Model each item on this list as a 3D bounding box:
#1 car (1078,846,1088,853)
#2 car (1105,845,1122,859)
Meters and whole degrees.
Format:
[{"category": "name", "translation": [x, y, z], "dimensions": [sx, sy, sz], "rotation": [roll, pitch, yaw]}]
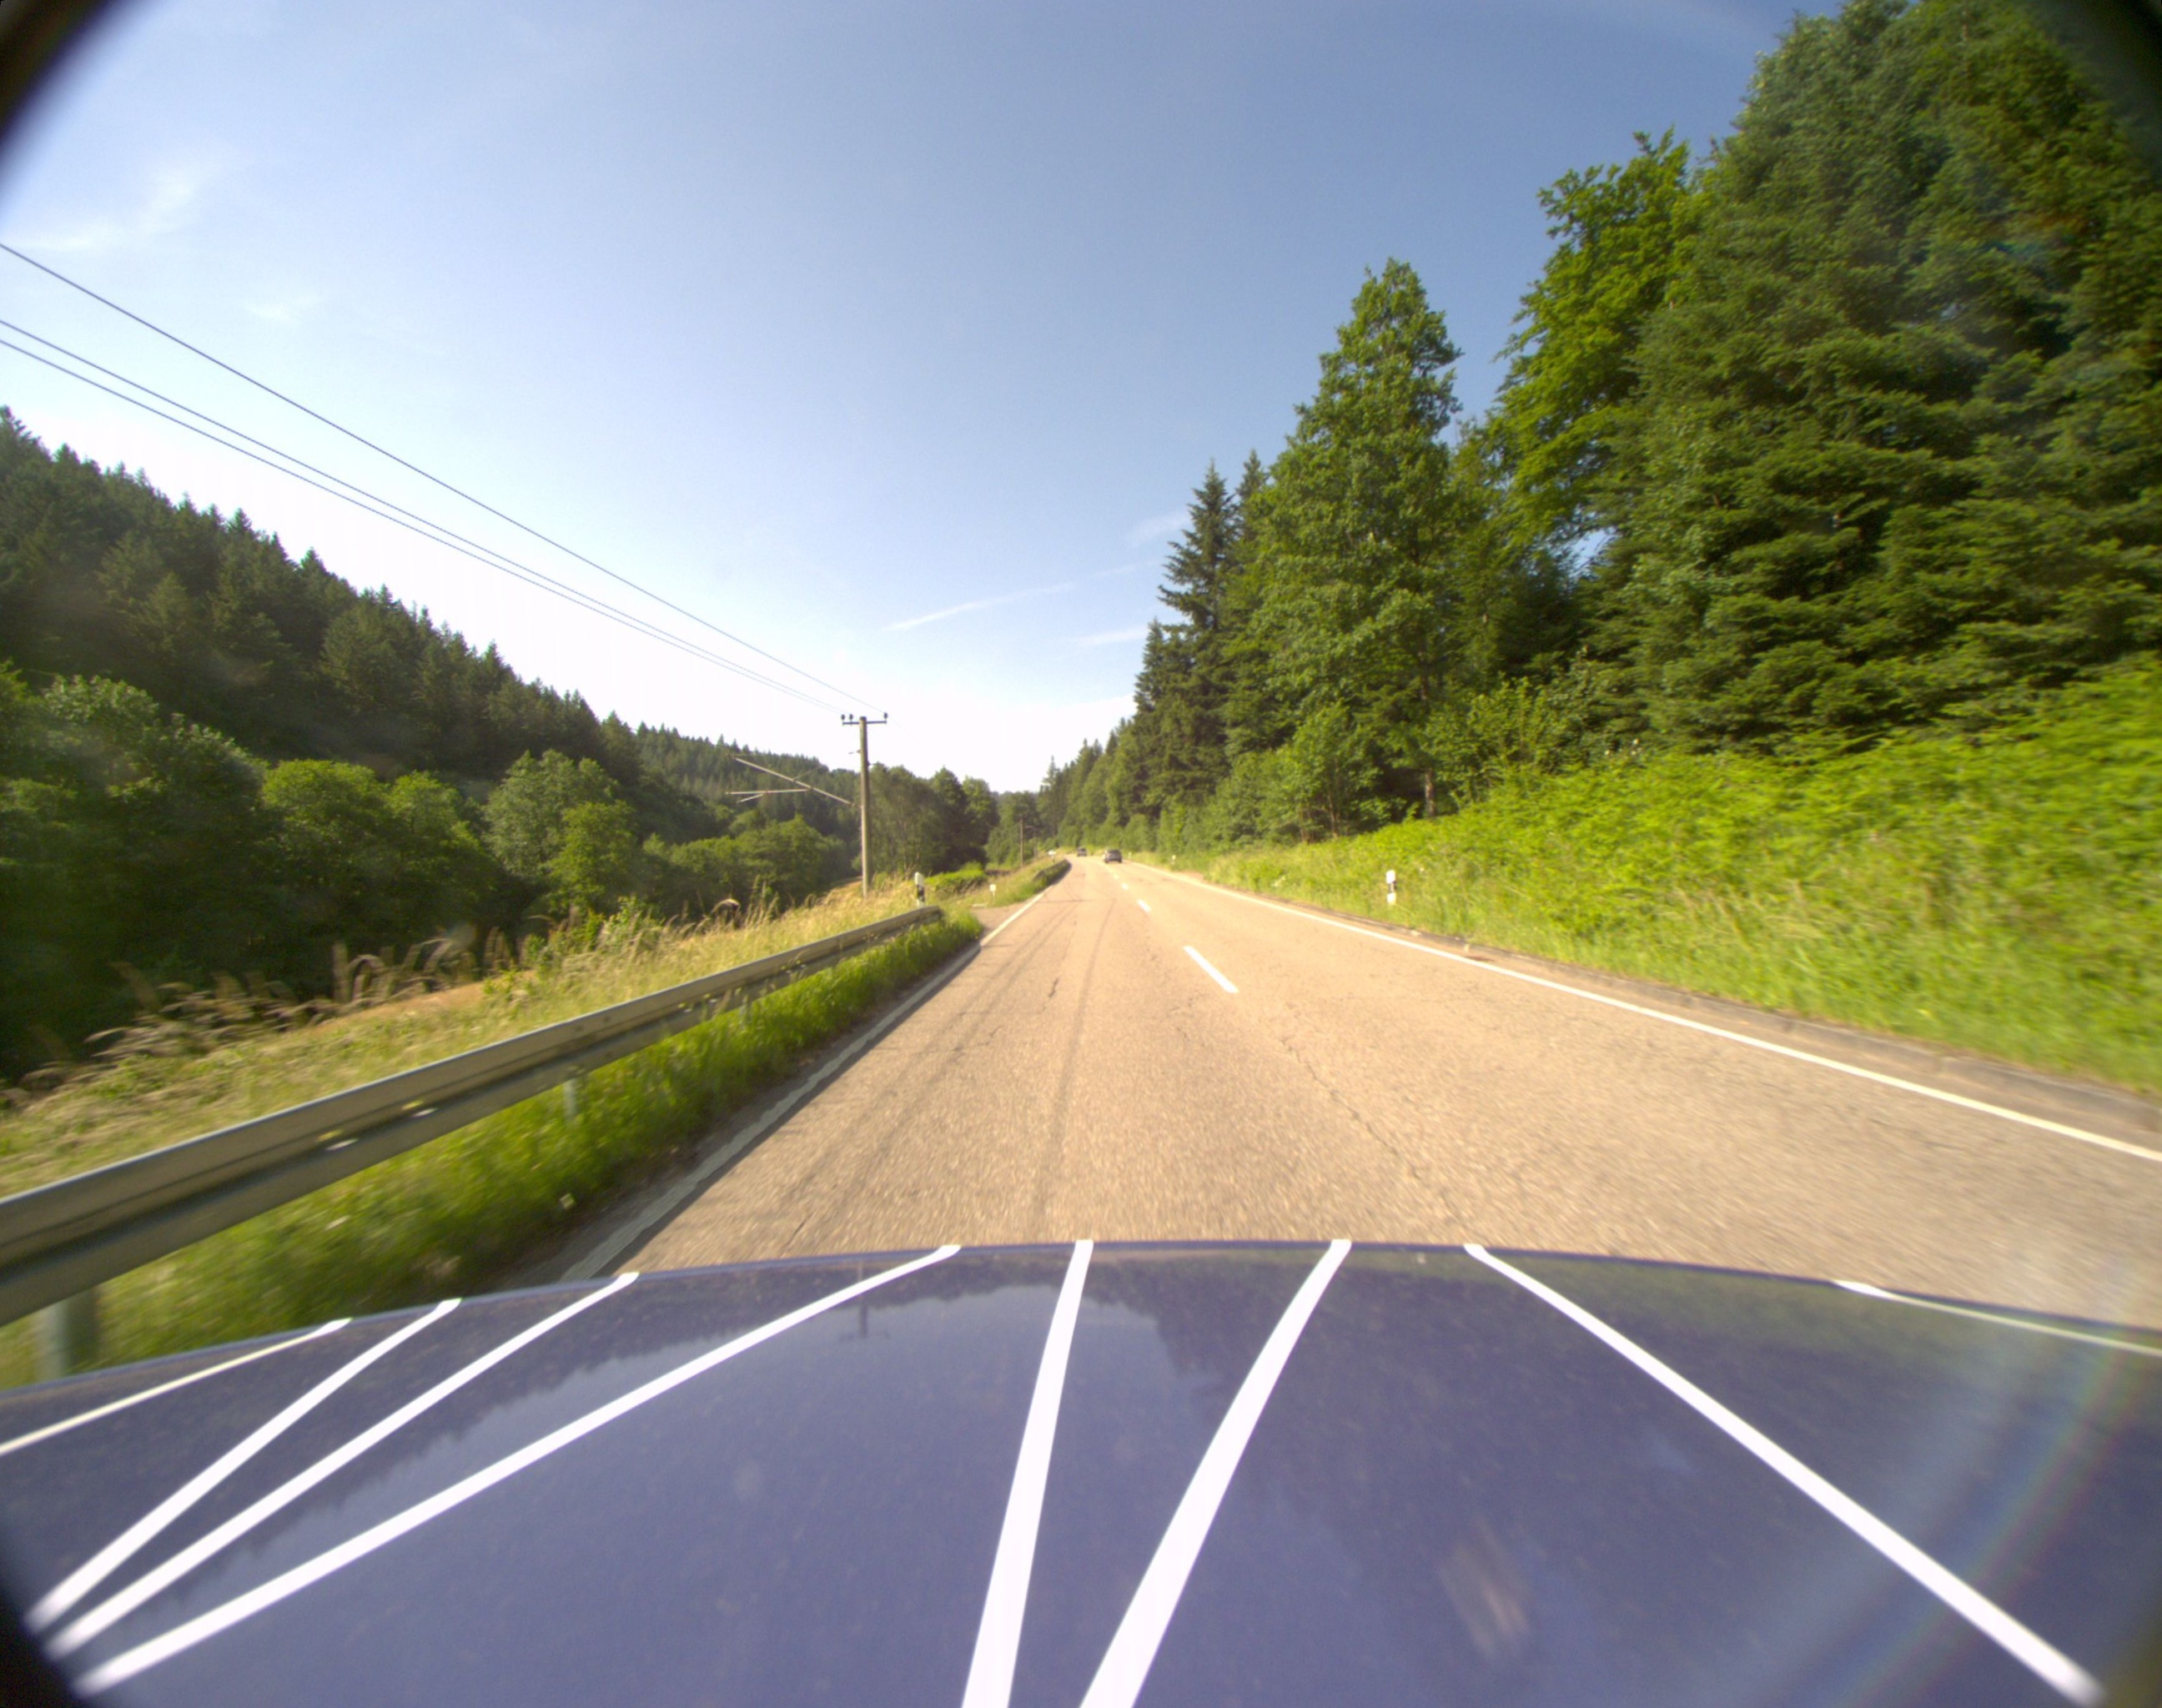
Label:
[{"category": "car", "translation": [0.491, -0.986, 161.244], "dimensions": [1.968, 1.568, 4.535], "rotation": [-1, 1, -1]}, {"category": "car", "translation": [3.765, -0.267, 87.680], "dimensions": [1.840, 1.572, 4.875], "rotation": [-1, 0, 1]}]
